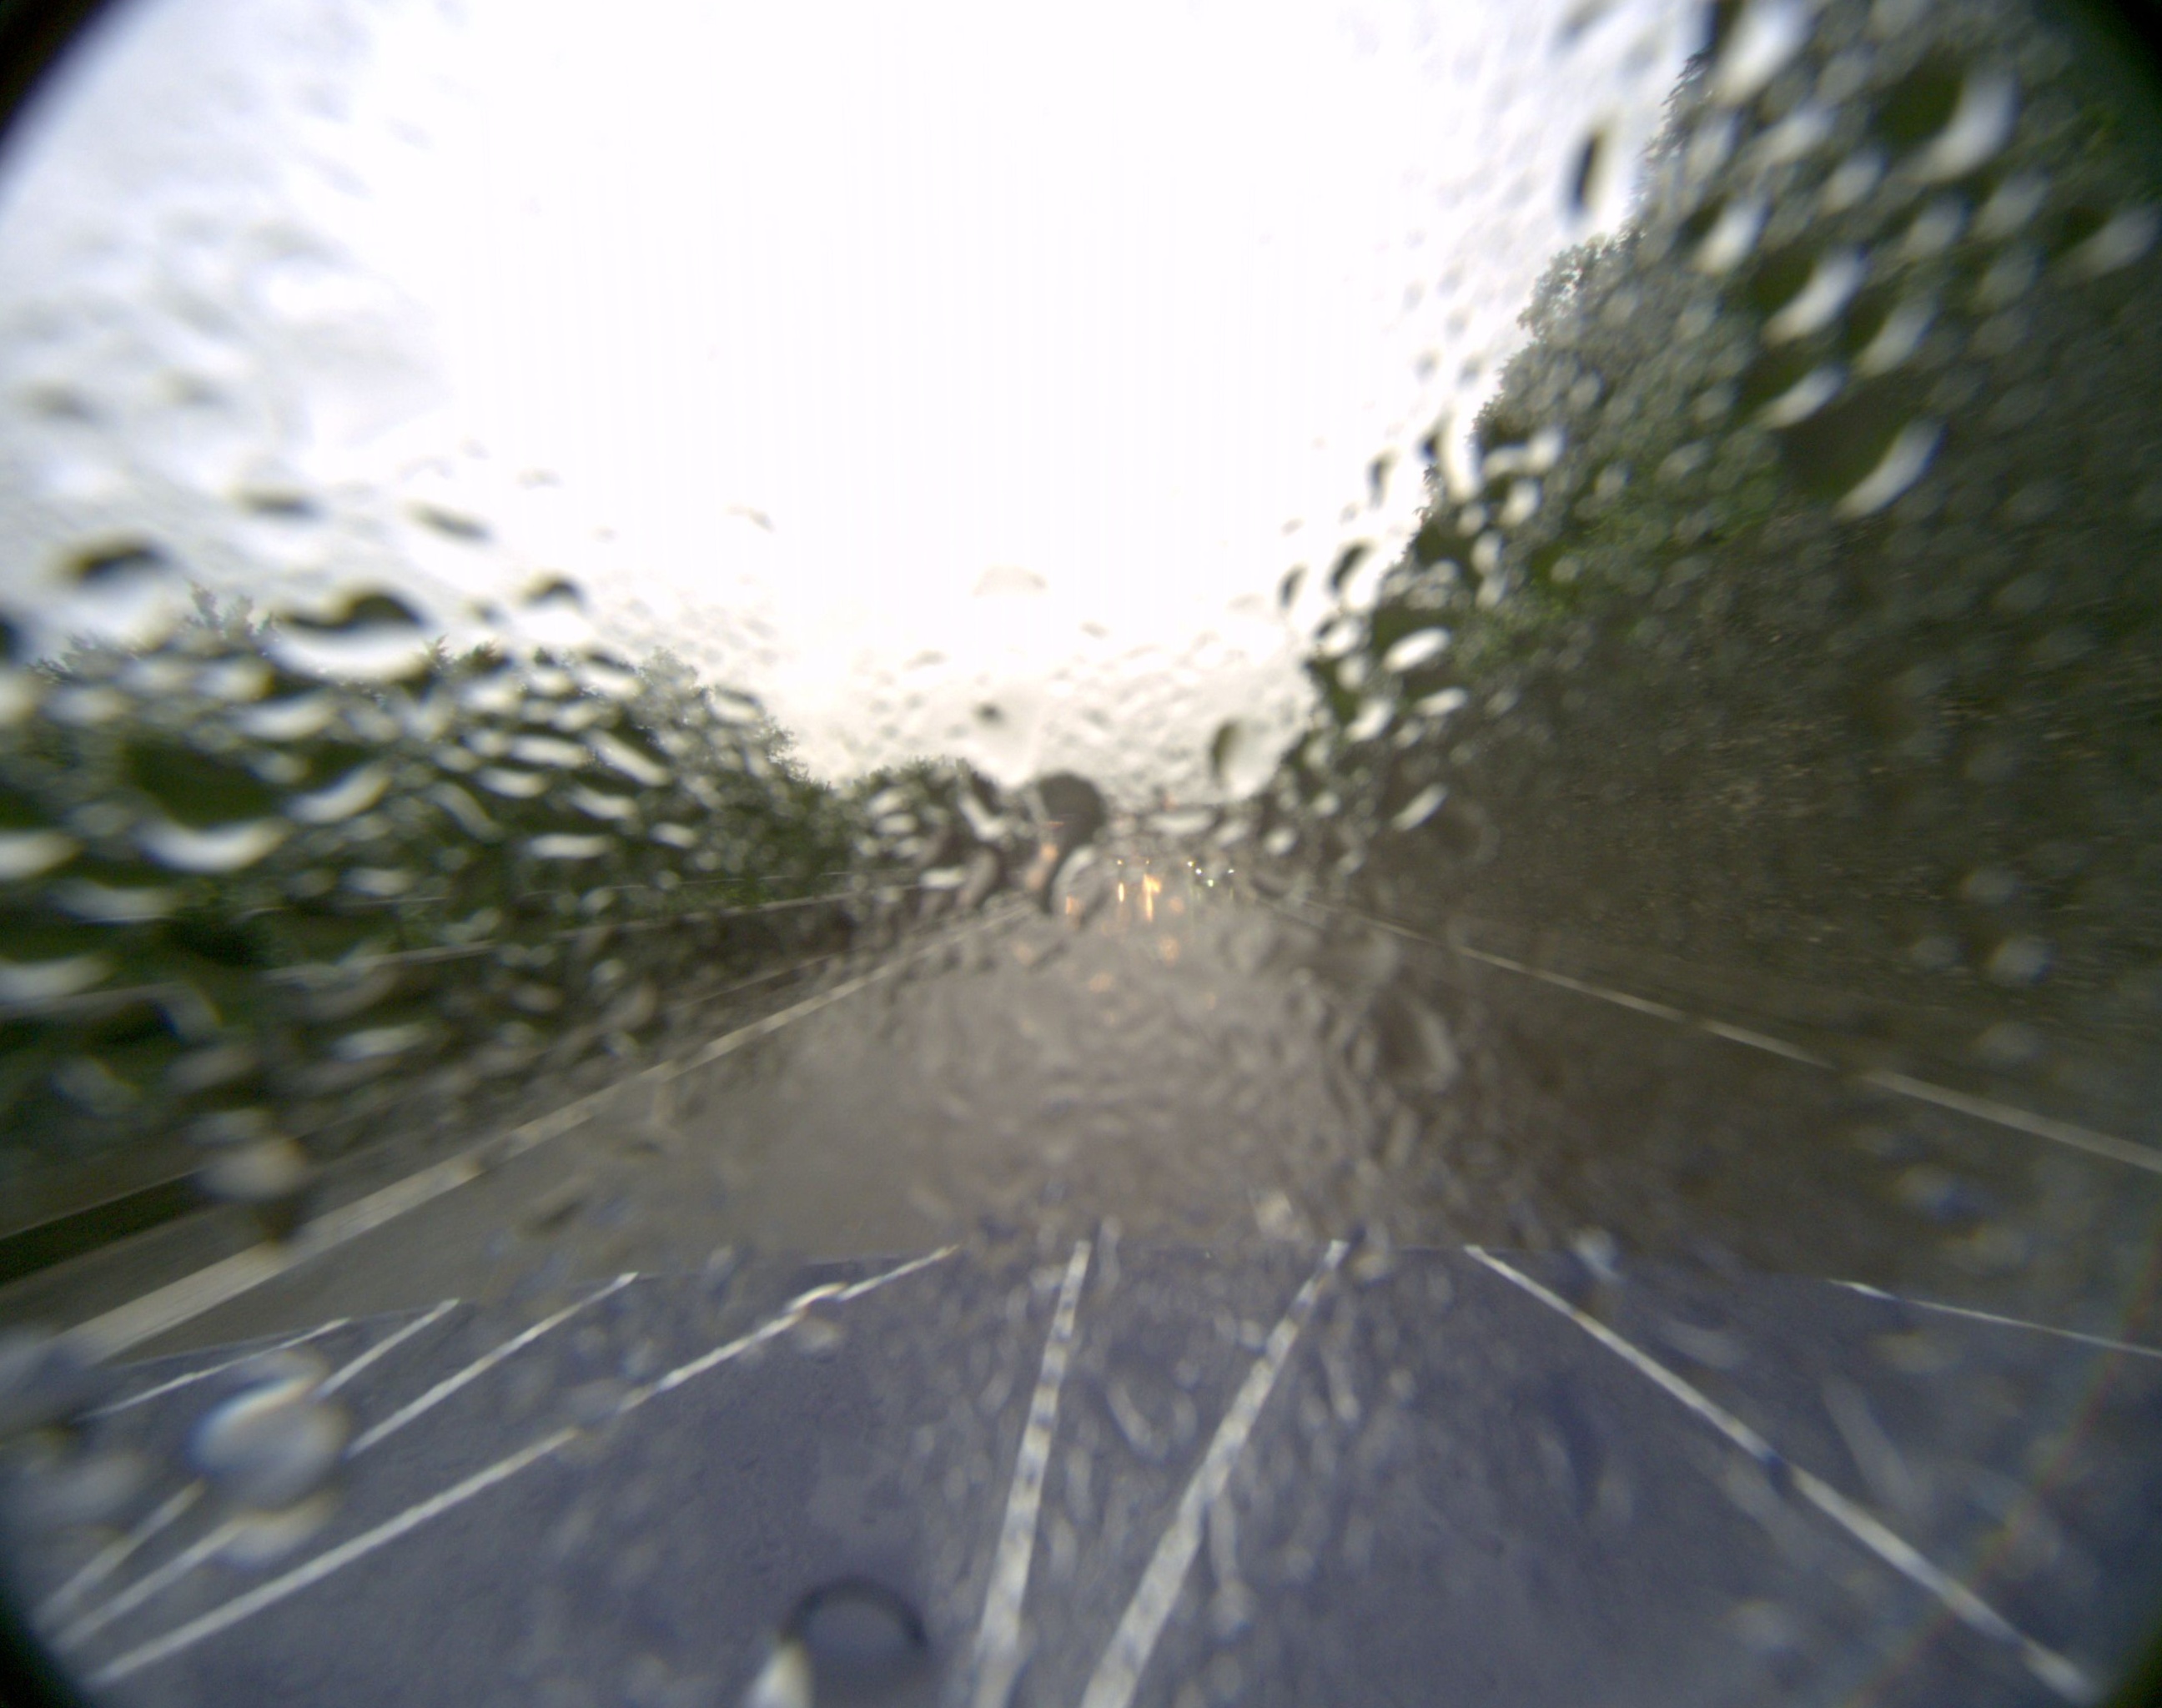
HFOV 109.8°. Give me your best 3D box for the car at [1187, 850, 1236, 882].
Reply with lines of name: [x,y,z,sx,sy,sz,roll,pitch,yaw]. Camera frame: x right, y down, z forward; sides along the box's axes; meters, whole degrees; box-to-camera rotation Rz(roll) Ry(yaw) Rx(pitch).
car: [6.201,0.542,36.467,1.827,1.375,4.000,-1,0,2]

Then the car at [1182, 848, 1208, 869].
car: [8.619,0.328,57.312,1.826,1.375,4.002,-3,0,9]

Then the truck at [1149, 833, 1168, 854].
truck: [16.179,-2.106,158.263,2.807,4.280,6.473,0,1,17]

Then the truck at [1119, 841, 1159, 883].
truck: [3.852,0.487,49.147,2.107,2.481,8.007,0,0,8]
